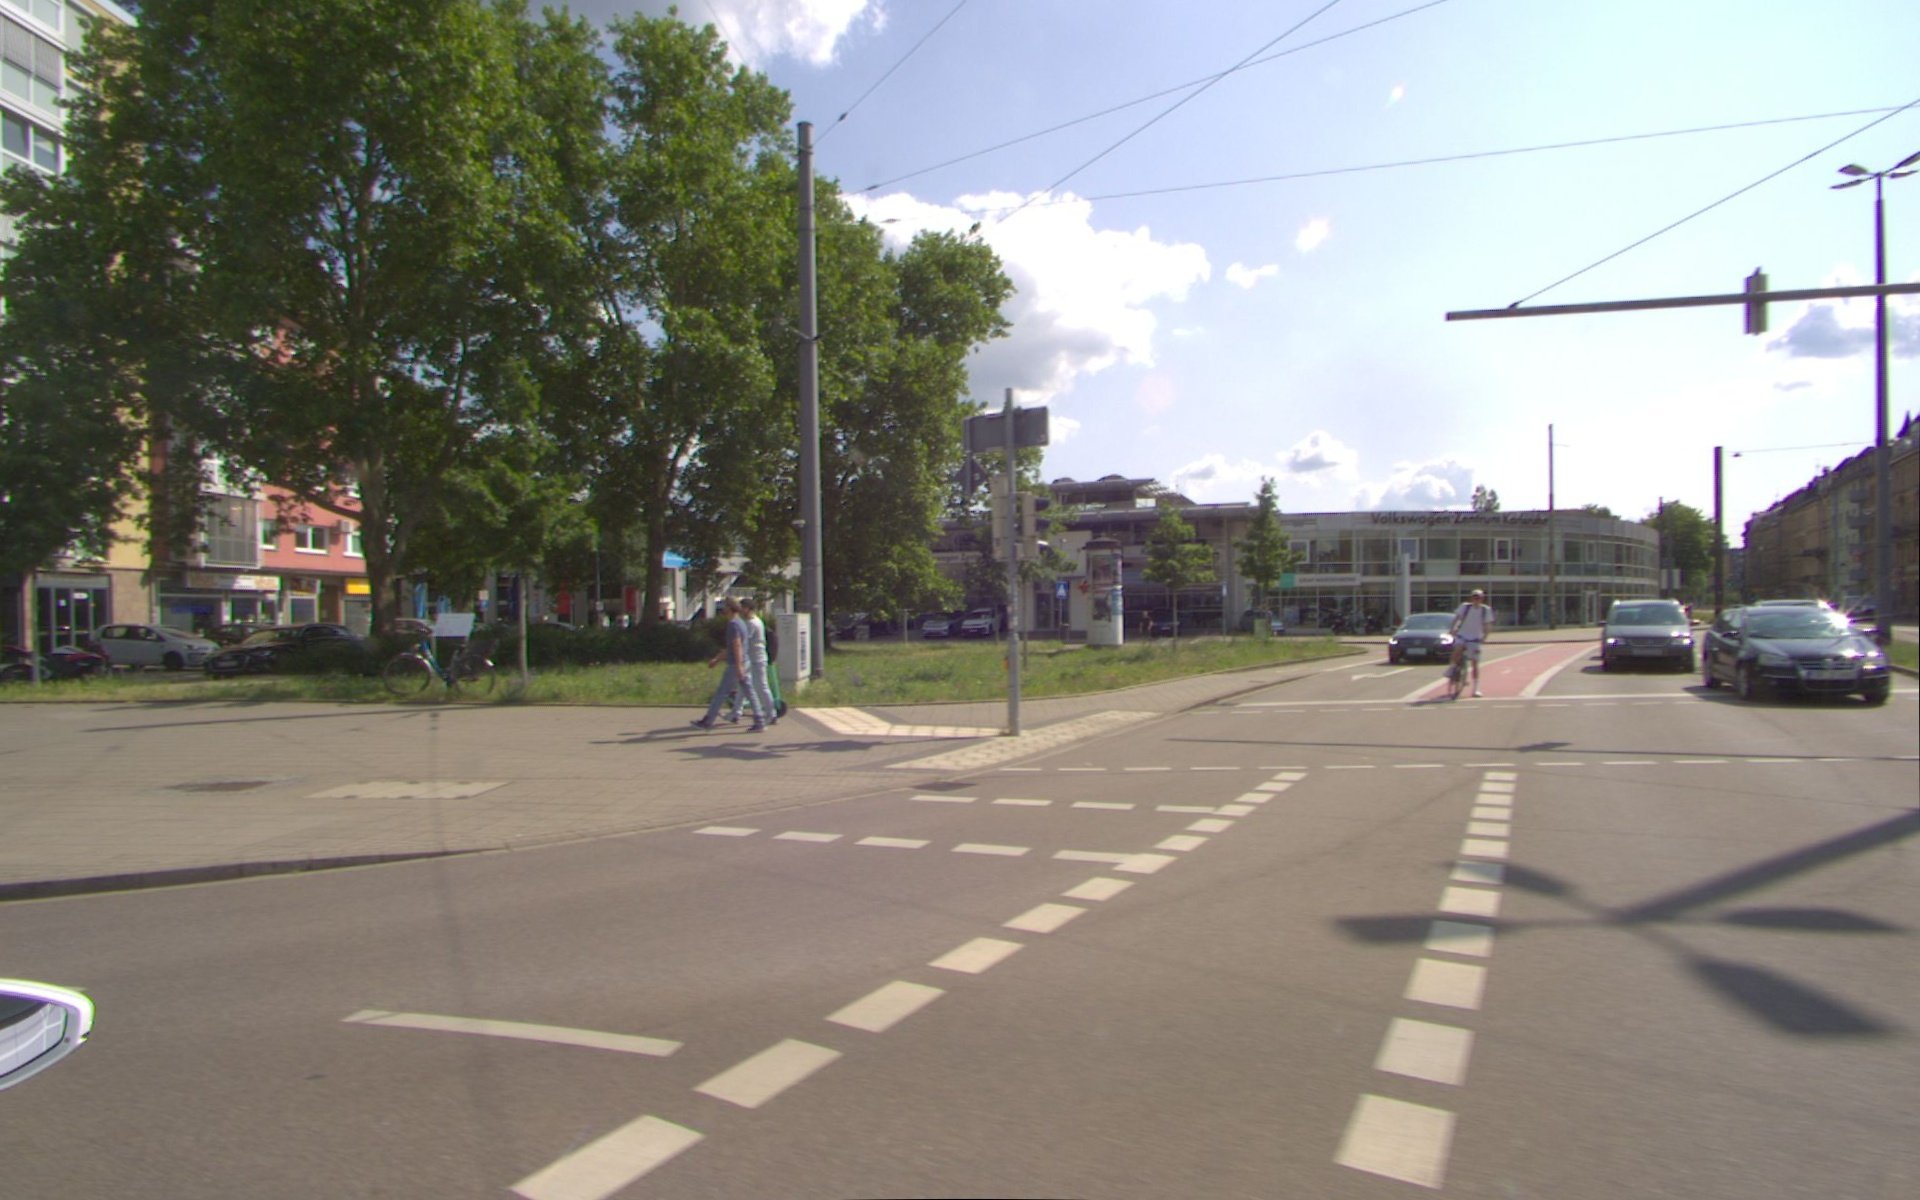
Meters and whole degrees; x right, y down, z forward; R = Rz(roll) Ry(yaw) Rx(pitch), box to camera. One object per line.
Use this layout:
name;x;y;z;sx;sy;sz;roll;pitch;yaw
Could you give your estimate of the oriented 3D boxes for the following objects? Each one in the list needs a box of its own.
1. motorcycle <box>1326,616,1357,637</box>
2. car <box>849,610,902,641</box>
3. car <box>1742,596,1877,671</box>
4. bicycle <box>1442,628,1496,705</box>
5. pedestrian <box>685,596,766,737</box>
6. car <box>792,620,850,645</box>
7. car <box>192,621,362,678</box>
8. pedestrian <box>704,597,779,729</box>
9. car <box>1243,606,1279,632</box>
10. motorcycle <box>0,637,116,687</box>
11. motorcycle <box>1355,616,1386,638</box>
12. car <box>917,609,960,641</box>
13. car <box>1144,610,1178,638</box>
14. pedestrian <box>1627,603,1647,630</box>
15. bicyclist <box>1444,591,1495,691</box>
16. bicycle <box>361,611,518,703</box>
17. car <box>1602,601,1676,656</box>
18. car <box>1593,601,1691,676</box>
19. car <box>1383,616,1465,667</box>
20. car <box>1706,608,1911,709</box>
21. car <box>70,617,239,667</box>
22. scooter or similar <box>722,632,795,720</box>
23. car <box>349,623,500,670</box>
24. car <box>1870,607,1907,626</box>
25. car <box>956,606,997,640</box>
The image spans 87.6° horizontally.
motorcycle;22.389;1.547;58.761;1.933;1.201;0.564;2;0;-28
car;-5.603;1.724;67.058;1.937;1.961;5.065;-2;-2;13
car;18.627;0.694;22.122;1.670;1.480;3.948;-2;-1;32
bicycle;8.885;1.117;17.439;0.750;1.208;2.141;-1;-1;28
pedestrian;-3.022;0.844;12.957;0.909;1.766;0.589;1;0;-6
car;-10.534;2.437;75.765;3.933;1.812;1.838;-2;-1;23
car;-18.855;1.349;27.886;1.874;1.431;4.002;-1;-2;2
pedestrian;-3.011;0.855;13.844;0.909;1.766;0.589;1;0;-6
car;19.142;1.218;63.555;1.793;1.553;3.908;-2;-2;22
motorcycle;-19.192;1.288;21.154;2.020;0.929;0.804;-1;1;-39
motorcycle;24.004;1.587;58.579;1.933;1.201;0.564;2;0;-28
car;-1.364;1.620;65.059;1.936;1.961;4.230;-2;-2;10
car;11.925;1.461;59.583;1.790;1.553;3.916;-2;-2;10
pedestrian;44.571;1.080;65.908;0.867;1.760;0.870;1;0;-40
bicyclist;8.889;0.704;17.452;0.750;1.705;0.757;-1;0;29
bicycle;-8.467;0.911;16.344;2.133;1.433;0.812;1;1;-1
car;19.888;0.793;29.275;1.611;1.480;3.942;-2;-1;36
car;16.071;0.838;23.510;1.721;1.593;3.973;-2;-1;37
car;13.468;1.164;28.952;1.718;1.305;3.980;-2;-1;31
car;13.361;0.859;16.013;1.716;1.391;3.626;-2;-1;28
car;-25.743;1.315;32.105;3.922;1.514;1.803;0;0;-1
scooter or similar;-2.997;1.104;14.846;1.161;1.209;0.396;1;0;40
car;-16.255;1.406;30.445;3.925;1.344;1.632;-1;-2;12
car;82.353;1.501;88.878;1.817;1.673;3.978;0;-1;34
car;1.106;1.503;64.143;1.962;2.039;4.230;-2;-2;10
